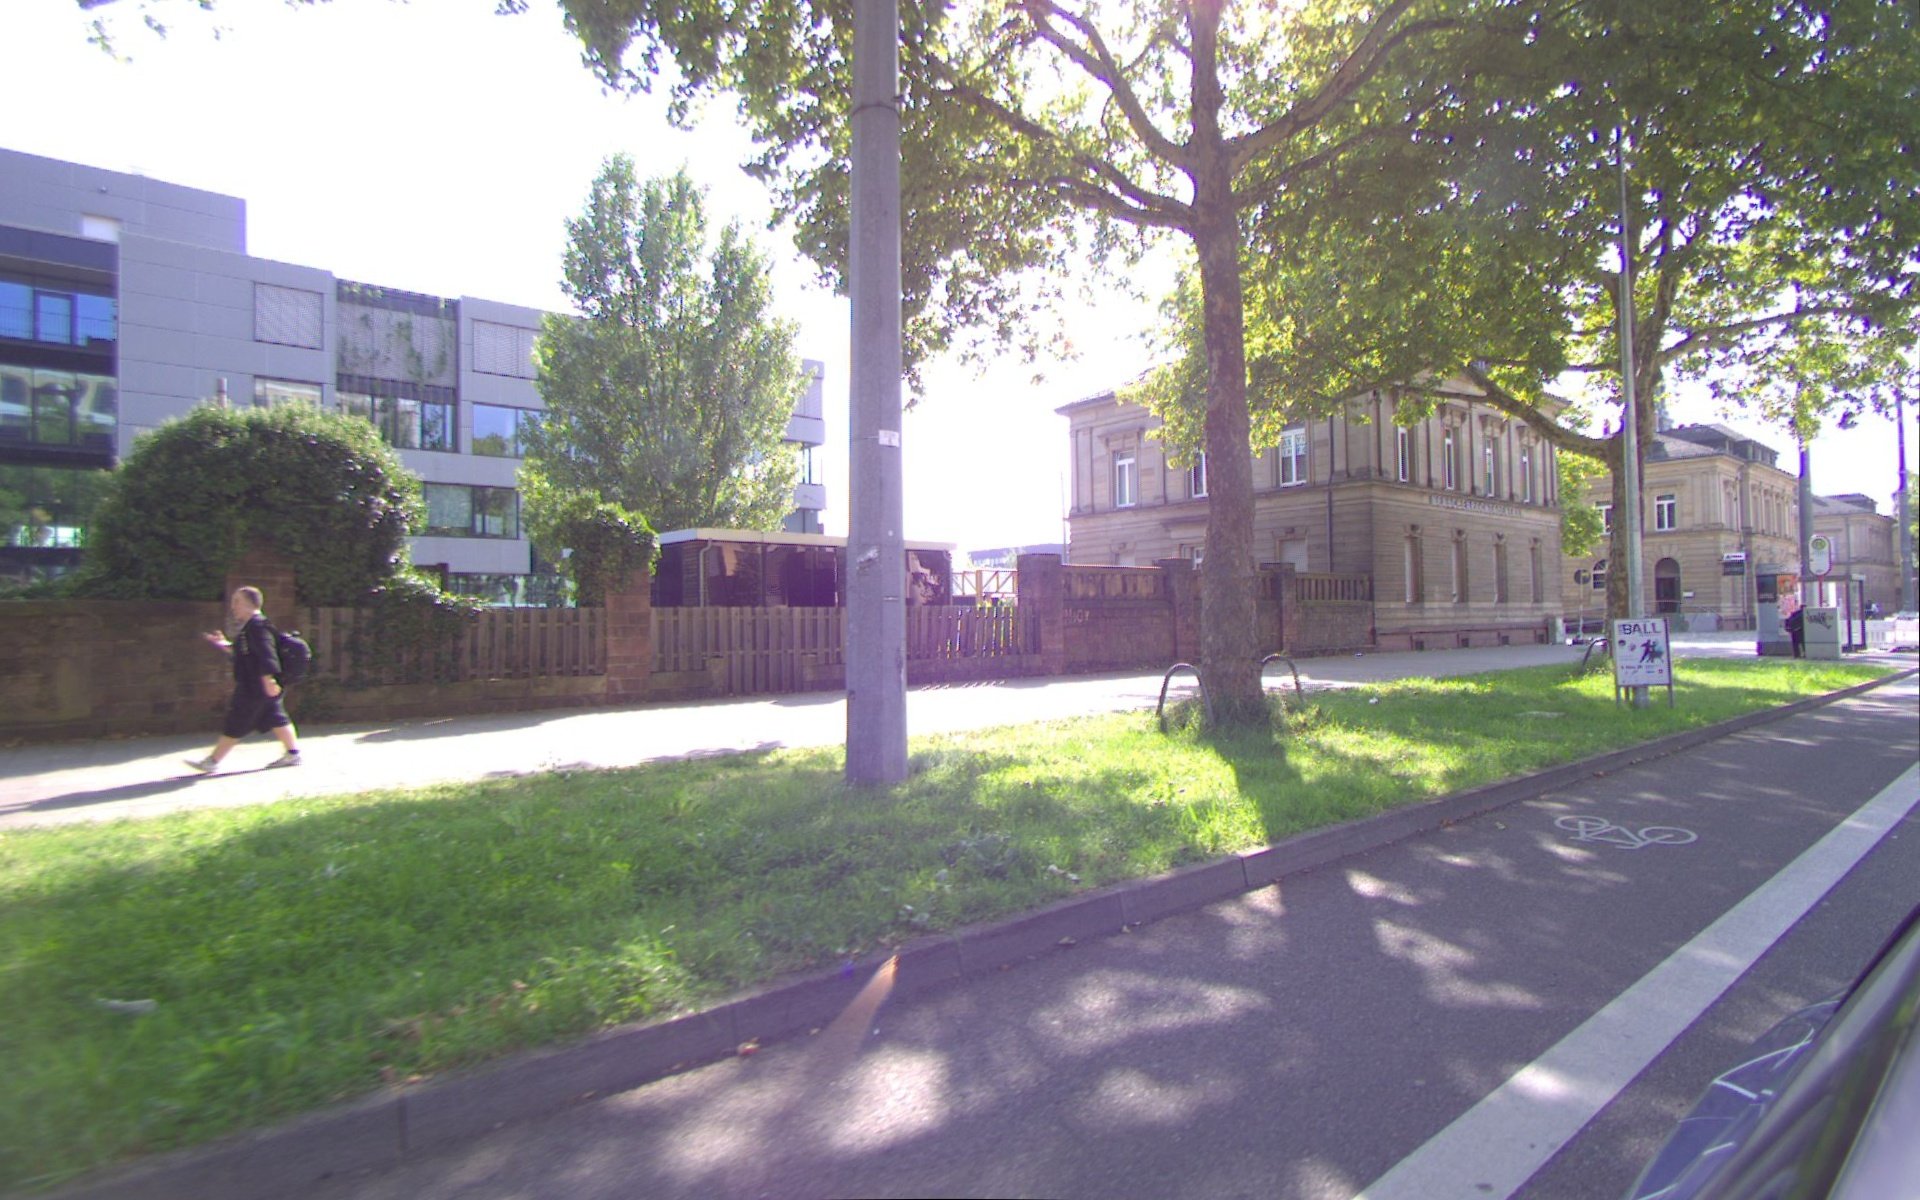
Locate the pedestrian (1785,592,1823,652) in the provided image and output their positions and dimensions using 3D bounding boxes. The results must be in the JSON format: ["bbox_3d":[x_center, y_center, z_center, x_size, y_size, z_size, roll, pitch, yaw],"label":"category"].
[{"bbox_3d":[24.339,0.627,29.193,0.683,1.718,0.642,-1,-2,29],"label":"pedestrian"}]

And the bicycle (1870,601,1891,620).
[{"bbox_3d":[52.280,0.619,57.472,1.870,1.055,0.718,1,-2,-43],"label":"bicycle"}]

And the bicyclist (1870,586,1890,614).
[{"bbox_3d":[52.325,-0.016,57.537,0.939,1.563,0.718,1,-2,-43],"label":"bicyclist"}]

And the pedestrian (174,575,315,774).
[{"bbox_3d":[-6.588,0.643,9.323,0.994,1.708,0.820,0,-1,-40],"label":"pedestrian"}]

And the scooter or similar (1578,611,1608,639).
[{"bbox_3d":[27.980,1.107,44.759,1.228,1.226,0.423,2,-2,-18],"label":"scooter or similar"}]
